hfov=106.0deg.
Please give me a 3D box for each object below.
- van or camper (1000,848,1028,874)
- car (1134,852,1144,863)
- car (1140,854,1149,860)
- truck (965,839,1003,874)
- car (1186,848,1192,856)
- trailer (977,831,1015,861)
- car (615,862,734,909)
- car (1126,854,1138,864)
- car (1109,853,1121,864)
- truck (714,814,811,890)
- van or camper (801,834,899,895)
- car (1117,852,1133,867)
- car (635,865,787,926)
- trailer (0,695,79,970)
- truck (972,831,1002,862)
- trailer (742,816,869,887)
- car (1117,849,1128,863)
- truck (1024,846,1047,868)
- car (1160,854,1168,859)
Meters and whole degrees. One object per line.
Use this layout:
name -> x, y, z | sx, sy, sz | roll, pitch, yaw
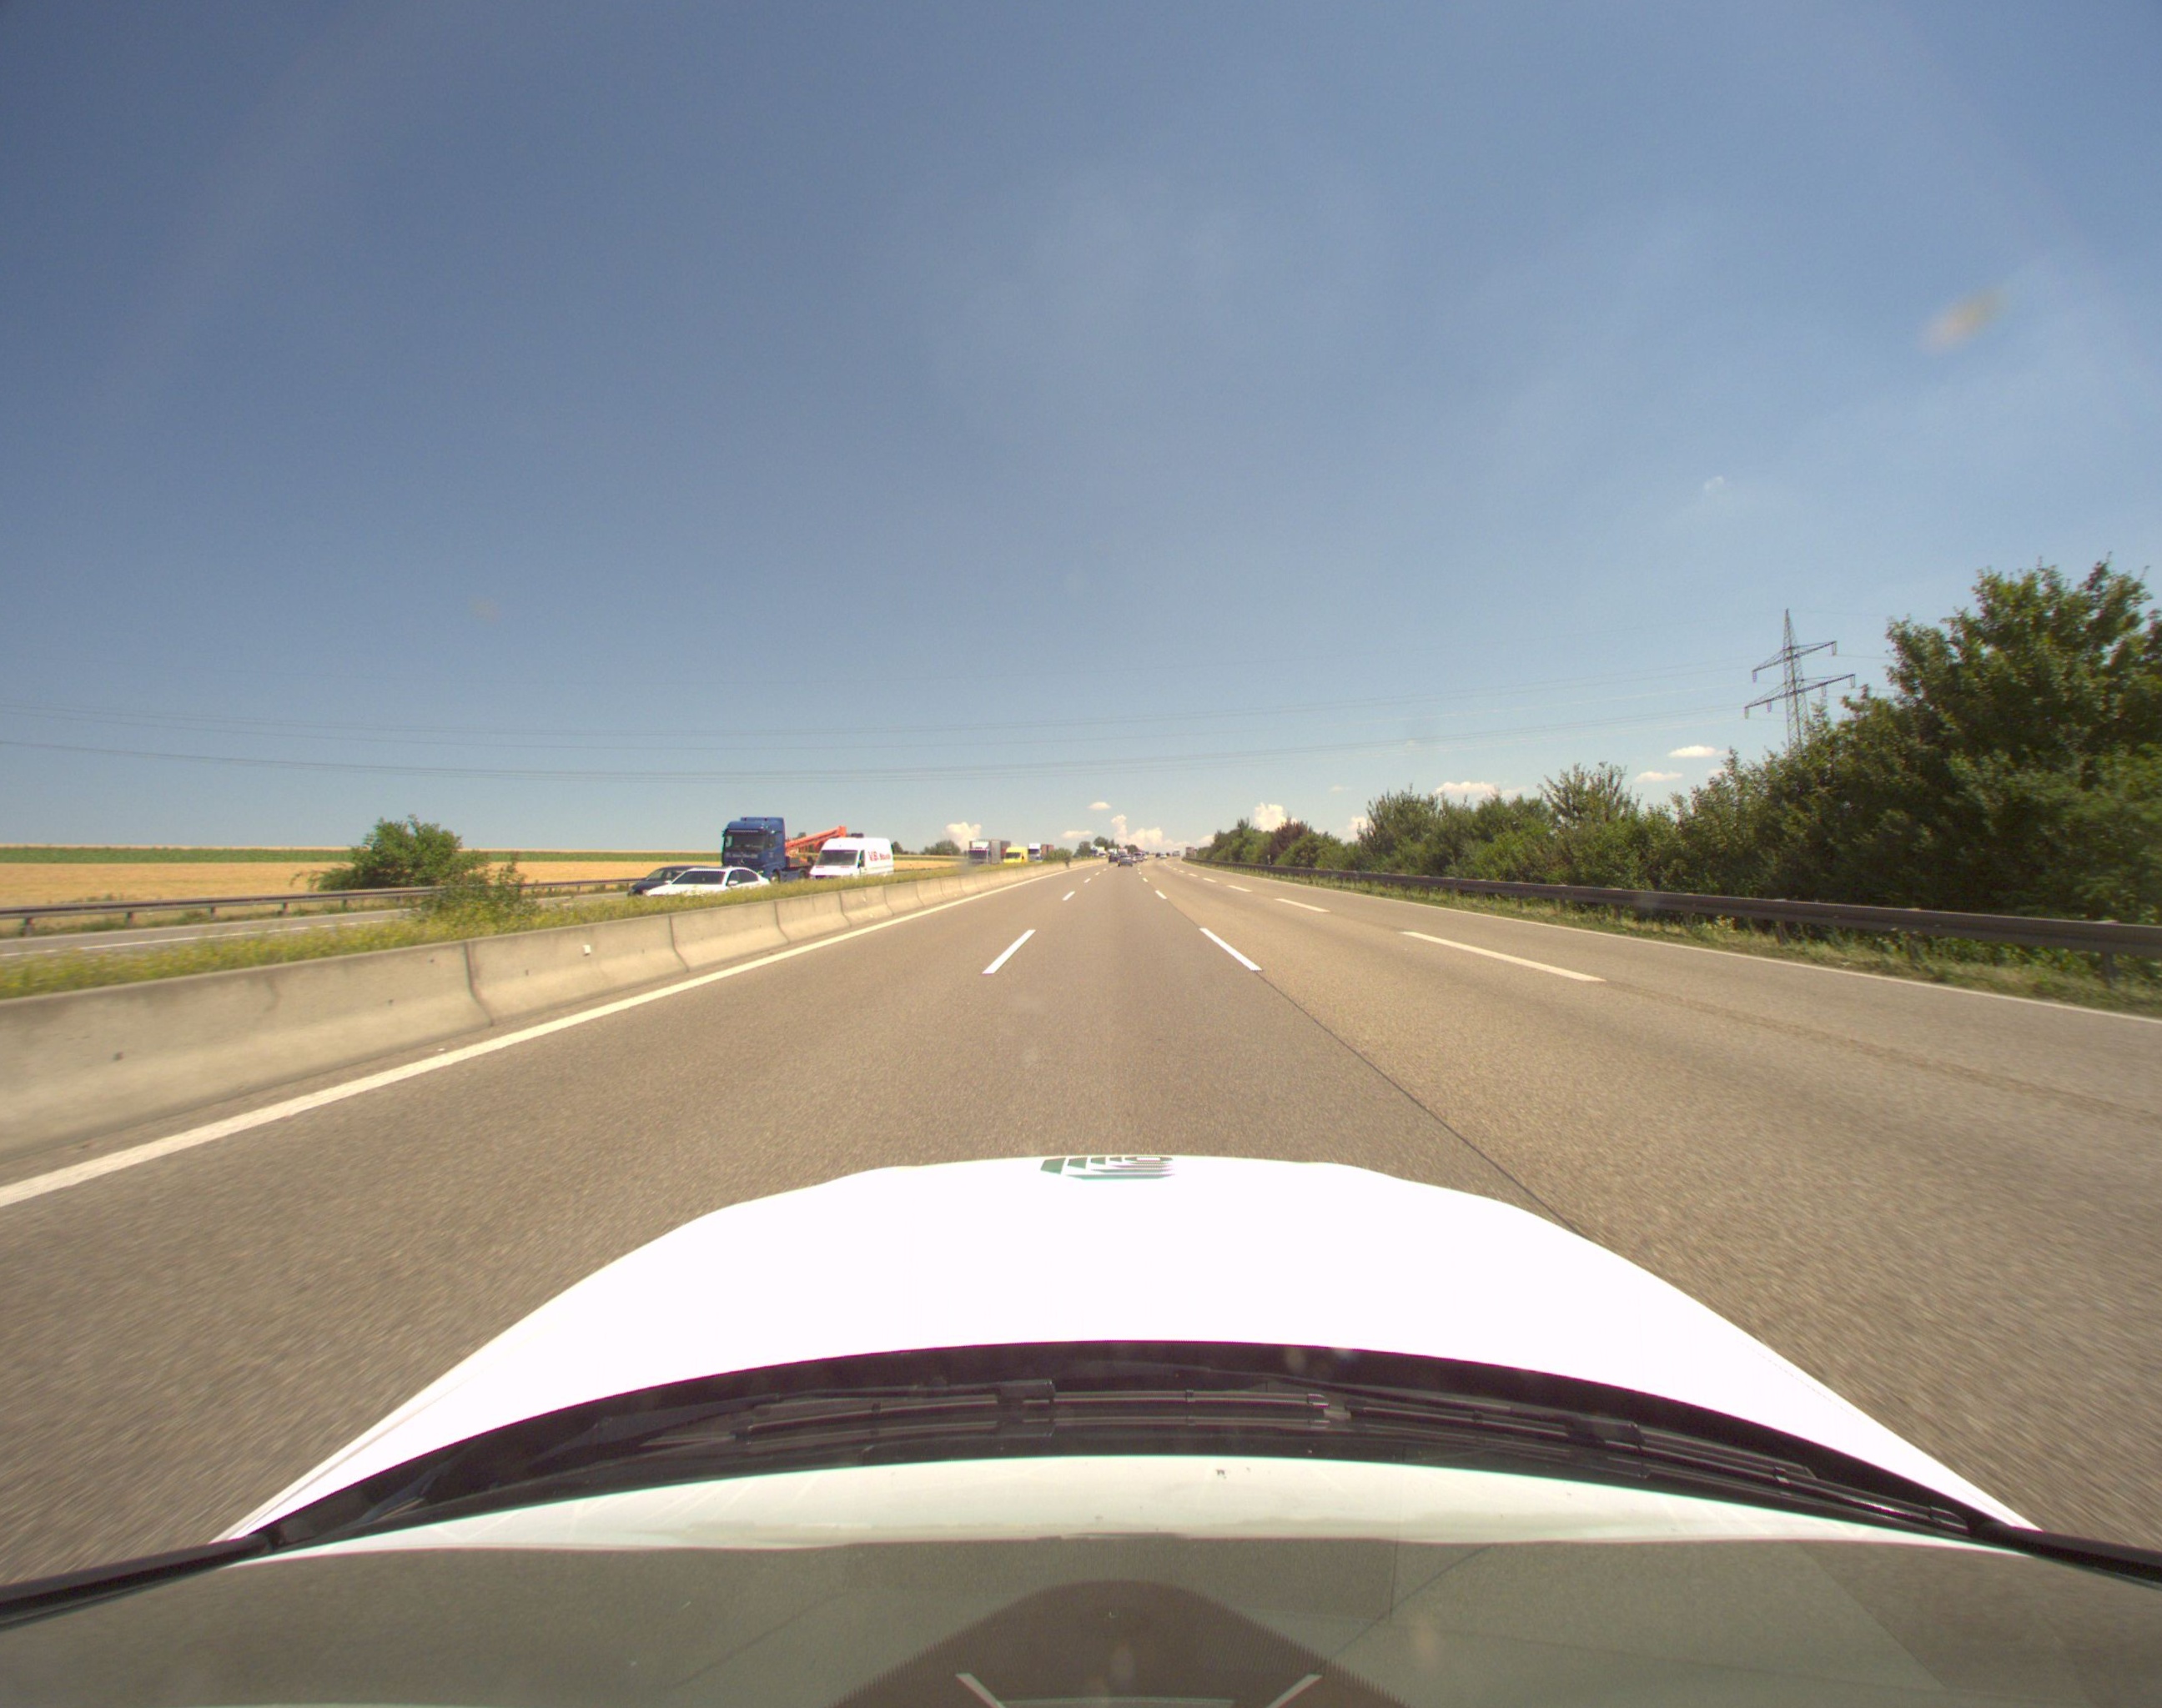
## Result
van or camper -> -7.164, 0.742, 88.032 | 2.075, 2.707, 6.145 | -1, 0, 4
car -> 11.483, 0.666, 161.601 | 1.984, 1.904, 4.004 | -1, -3, 5
car -> 15.381, 0.707, 197.222 | 1.984, 1.552, 4.006 | 1, 0, 5
truck -> -10.708, 0.263, 90.809 | 2.924, 3.743, 7.785 | -1, 0, 3
car -> 33.570, -0.619, 252.987 | 1.982, 2.301, 6.277 | -1, 0, 8
trailer -> -12.218, -1.014, 118.736 | 2.780, 4.105, 14.026 | -1, 0, 5
car -> -14.303, 1.063, 28.987 | 1.812, 1.479, 4.506 | -1, 0, 3
car -> 8.731, 0.884, 140.166 | 1.986, 1.585, 4.001 | -1, -1, 1
car -> 6.343, 0.849, 152.183 | 1.838, 1.861, 4.214 | -1, 1, 7
truck -> -17.616, -0.092, 45.443 | 2.765, 3.938, 6.141 | -1, 0, 2
van or camper -> -10.358, 0.459, 37.306 | 2.059, 2.463, 7.523 | -2, 0, 2
car -> 5.710, 0.695, 105.487 | 1.986, 1.750, 4.001 | -1, -3, 2
car -> -11.003, 1.157, 24.790 | 1.920, 1.587, 5.669 | -1, 0, 1
trailer -> -19.055, -0.328, 7.006 | 3.230, 4.387, 14.033 | 0, 0, 2
truck -> -12.891, -0.992, 111.894 | 2.839, 4.027, 6.524 | -1, 0, 5
trailer -> -17.258, -0.132, 52.593 | 2.827, 3.958, 13.737 | -1, 0, 3
car -> 8.773, 0.443, 171.399 | 2.169, 2.625, 4.679 | -1, -3, 6
truck -> -8.975, 0.646, 162.223 | 2.873, 4.171, 10.639 | -1, 0, 6
car -> 22.962, 0.678, 225.446 | 1.891, 1.442, 4.009 | -1, 0, 8
